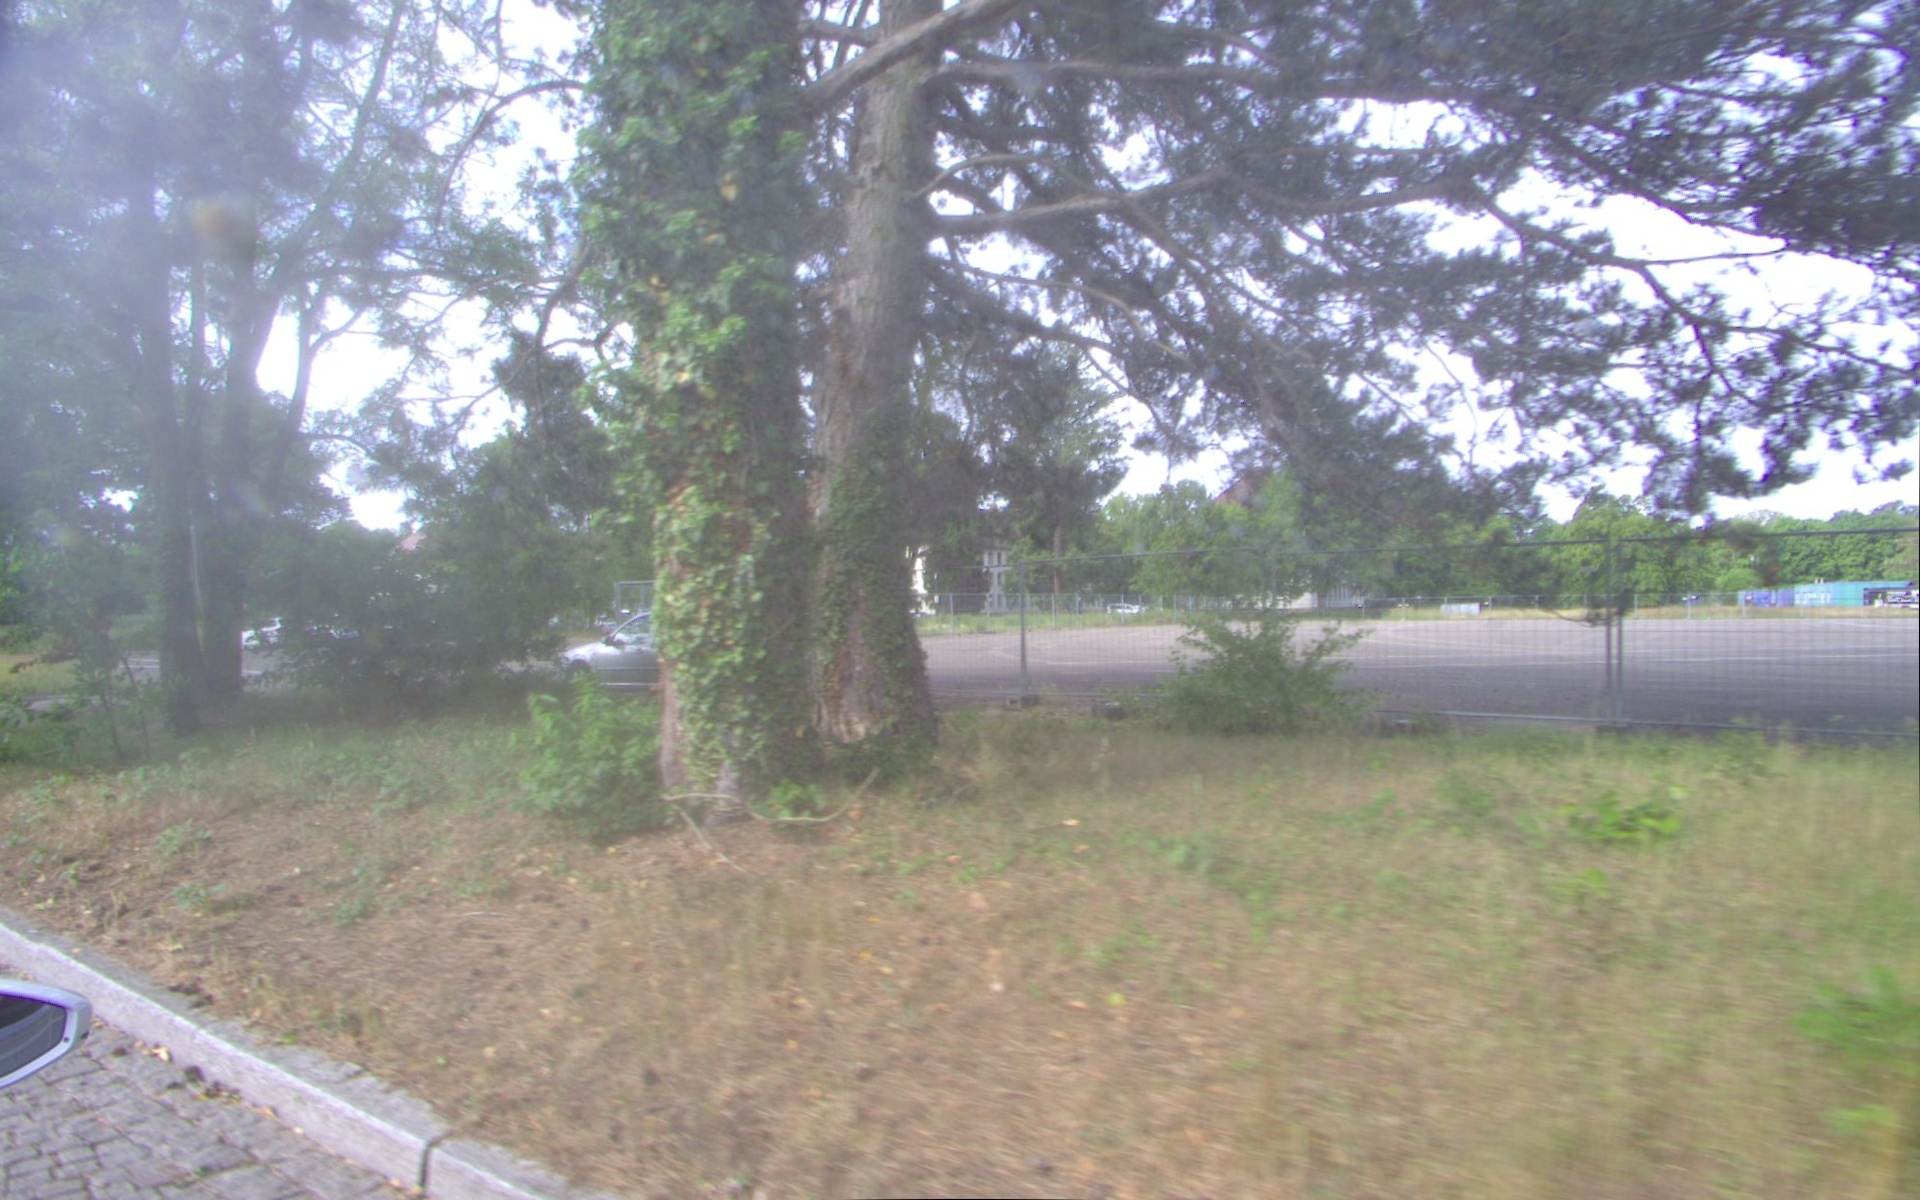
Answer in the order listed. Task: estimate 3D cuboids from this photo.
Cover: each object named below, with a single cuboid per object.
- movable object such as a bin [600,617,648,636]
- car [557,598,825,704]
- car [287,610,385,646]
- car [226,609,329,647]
[{"bbox_3d":[-15.080,1.173,44.962,1.928,0.836,1.181,-1,0,37],"label":"movable object such as a bin"},{"bbox_3d":[-4.172,0.762,15.359,4.014,1.444,1.644,-1,-3,31],"label":"car"},{"bbox_3d":[-28.840,1.307,46.263,4.359,1.500,1.991,-3,-1,29],"label":"car"},{"bbox_3d":[-30.025,1.240,44.037,4.359,1.500,1.991,-3,-1,29],"label":"car"}]
